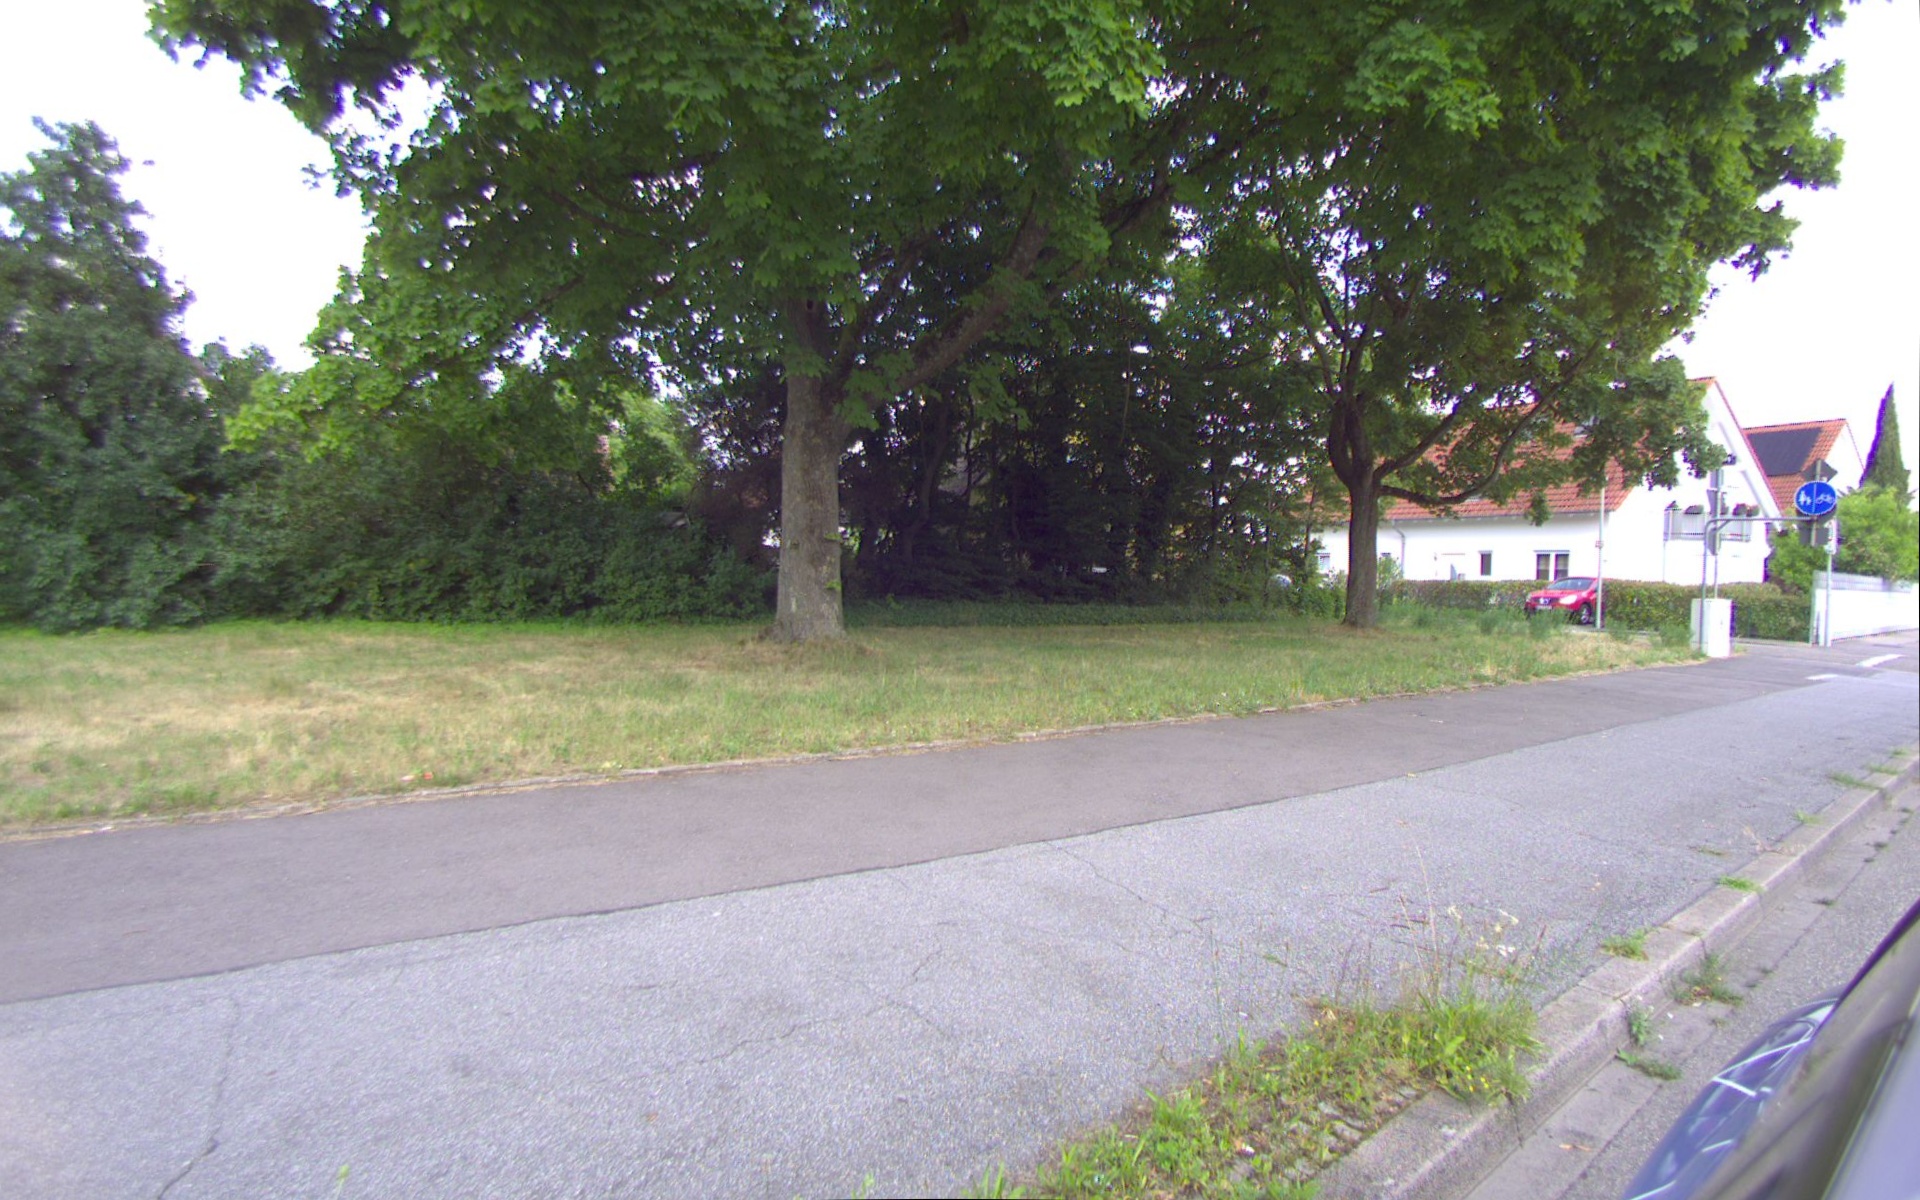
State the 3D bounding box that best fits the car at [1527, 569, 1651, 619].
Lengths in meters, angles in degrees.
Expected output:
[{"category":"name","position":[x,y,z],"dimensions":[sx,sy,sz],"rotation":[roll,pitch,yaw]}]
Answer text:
[{"category":"car","position":[21.005,-0.175,33.763],"dimensions":[4.305,1.549,1.684],"rotation":[1,2,-30]}]
